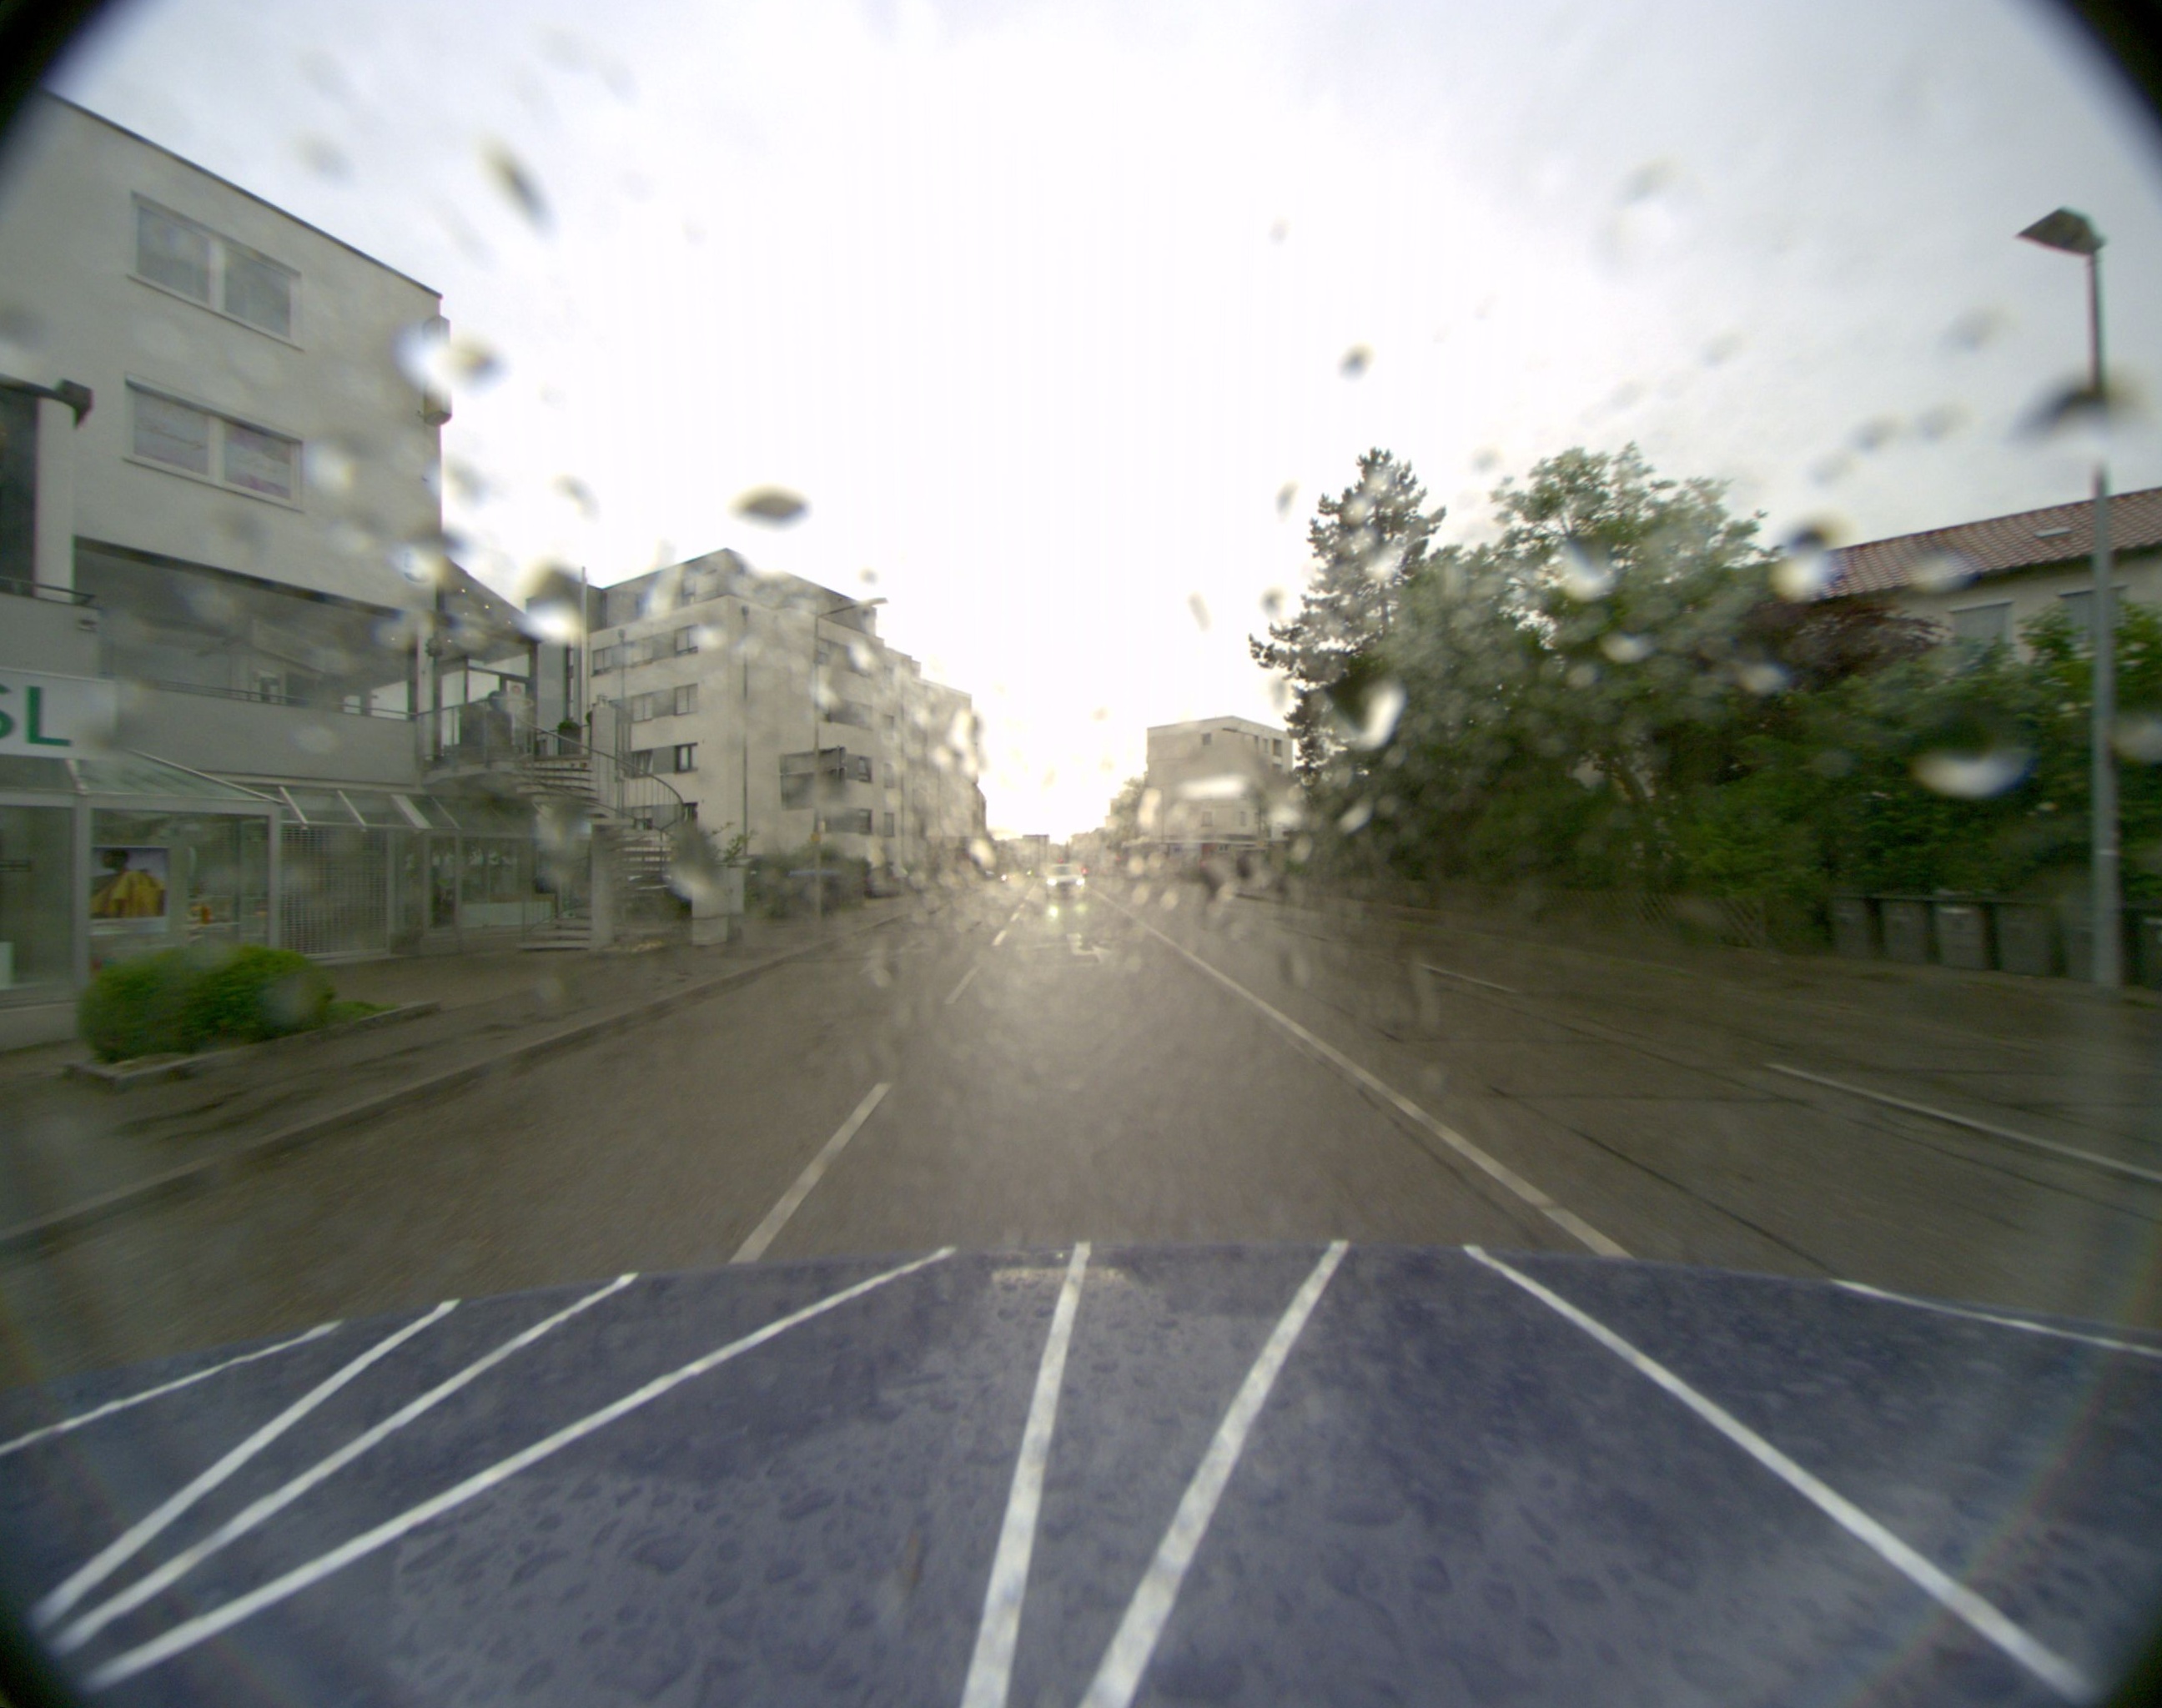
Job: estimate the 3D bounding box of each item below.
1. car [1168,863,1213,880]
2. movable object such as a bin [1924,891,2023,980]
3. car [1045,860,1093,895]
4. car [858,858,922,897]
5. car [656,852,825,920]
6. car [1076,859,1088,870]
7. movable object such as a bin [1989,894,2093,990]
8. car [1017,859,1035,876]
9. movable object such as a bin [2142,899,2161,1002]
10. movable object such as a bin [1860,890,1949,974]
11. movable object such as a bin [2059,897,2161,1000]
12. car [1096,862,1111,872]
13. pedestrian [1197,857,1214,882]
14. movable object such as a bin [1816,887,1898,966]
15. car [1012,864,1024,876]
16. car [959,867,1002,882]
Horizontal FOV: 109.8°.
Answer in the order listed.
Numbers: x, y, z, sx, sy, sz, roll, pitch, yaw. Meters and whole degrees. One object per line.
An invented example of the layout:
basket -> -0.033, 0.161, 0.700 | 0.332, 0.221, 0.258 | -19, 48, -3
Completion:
car -> 10.020, 1.574, 69.227 | 1.994, 1.537, 4.481 | 0, 0, 40
movable object such as a bin -> 11.776, 1.058, 10.039 | 0.601, 1.111, 0.601 | -1, 0, -3
car -> -0.596, 1.055, 33.929 | 1.830, 1.430, 4.344 | -1, -1, -5
car -> -9.240, 1.082, 37.171 | 1.999, 1.775, 4.690 | 0, -1, -1
car -> -11.030, 0.970, 25.008 | 1.994, 2.001, 4.789 | 0, -1, 31
car -> 0.157, 1.676, 118.331 | 1.807, 1.547, 4.320 | -1, -2, 1
movable object such as a bin -> 11.905, 1.074, 9.437 | 0.601, 1.111, 0.600 | 0, 0, -13
car -> -6.584, 1.661, 91.978 | 1.999, 2.001, 4.000 | -1, -2, -2
movable object such as a bin -> 12.127, 1.060, 8.202 | 0.601, 1.111, 0.600 | 0, 0, -13
movable object such as a bin -> 11.539, 1.078, 10.660 | 0.601, 1.112, 0.601 | -1, 0, -3
movable object such as a bin -> 11.983, 1.070, 8.807 | 0.601, 1.111, 0.600 | 0, 0, -13
car -> 3.334, 1.990, 112.506 | 1.703, 1.400, 3.999 | 2, -2, -5
pedestrian -> 8.441, 1.044, 51.501 | 0.872, 1.597, 1.102 | -1, 1, -9
movable object such as a bin -> 11.509, 1.062, 11.282 | 0.601, 1.112, 0.601 | -1, 0, -3
car -> -11.584, 2.956, 139.898 | 1.999, 2.001, 4.001 | -1, -2, -1
car -> -10.817, 2.204, 81.642 | 4.260, 1.485, 1.877 | -2, -2, 25
